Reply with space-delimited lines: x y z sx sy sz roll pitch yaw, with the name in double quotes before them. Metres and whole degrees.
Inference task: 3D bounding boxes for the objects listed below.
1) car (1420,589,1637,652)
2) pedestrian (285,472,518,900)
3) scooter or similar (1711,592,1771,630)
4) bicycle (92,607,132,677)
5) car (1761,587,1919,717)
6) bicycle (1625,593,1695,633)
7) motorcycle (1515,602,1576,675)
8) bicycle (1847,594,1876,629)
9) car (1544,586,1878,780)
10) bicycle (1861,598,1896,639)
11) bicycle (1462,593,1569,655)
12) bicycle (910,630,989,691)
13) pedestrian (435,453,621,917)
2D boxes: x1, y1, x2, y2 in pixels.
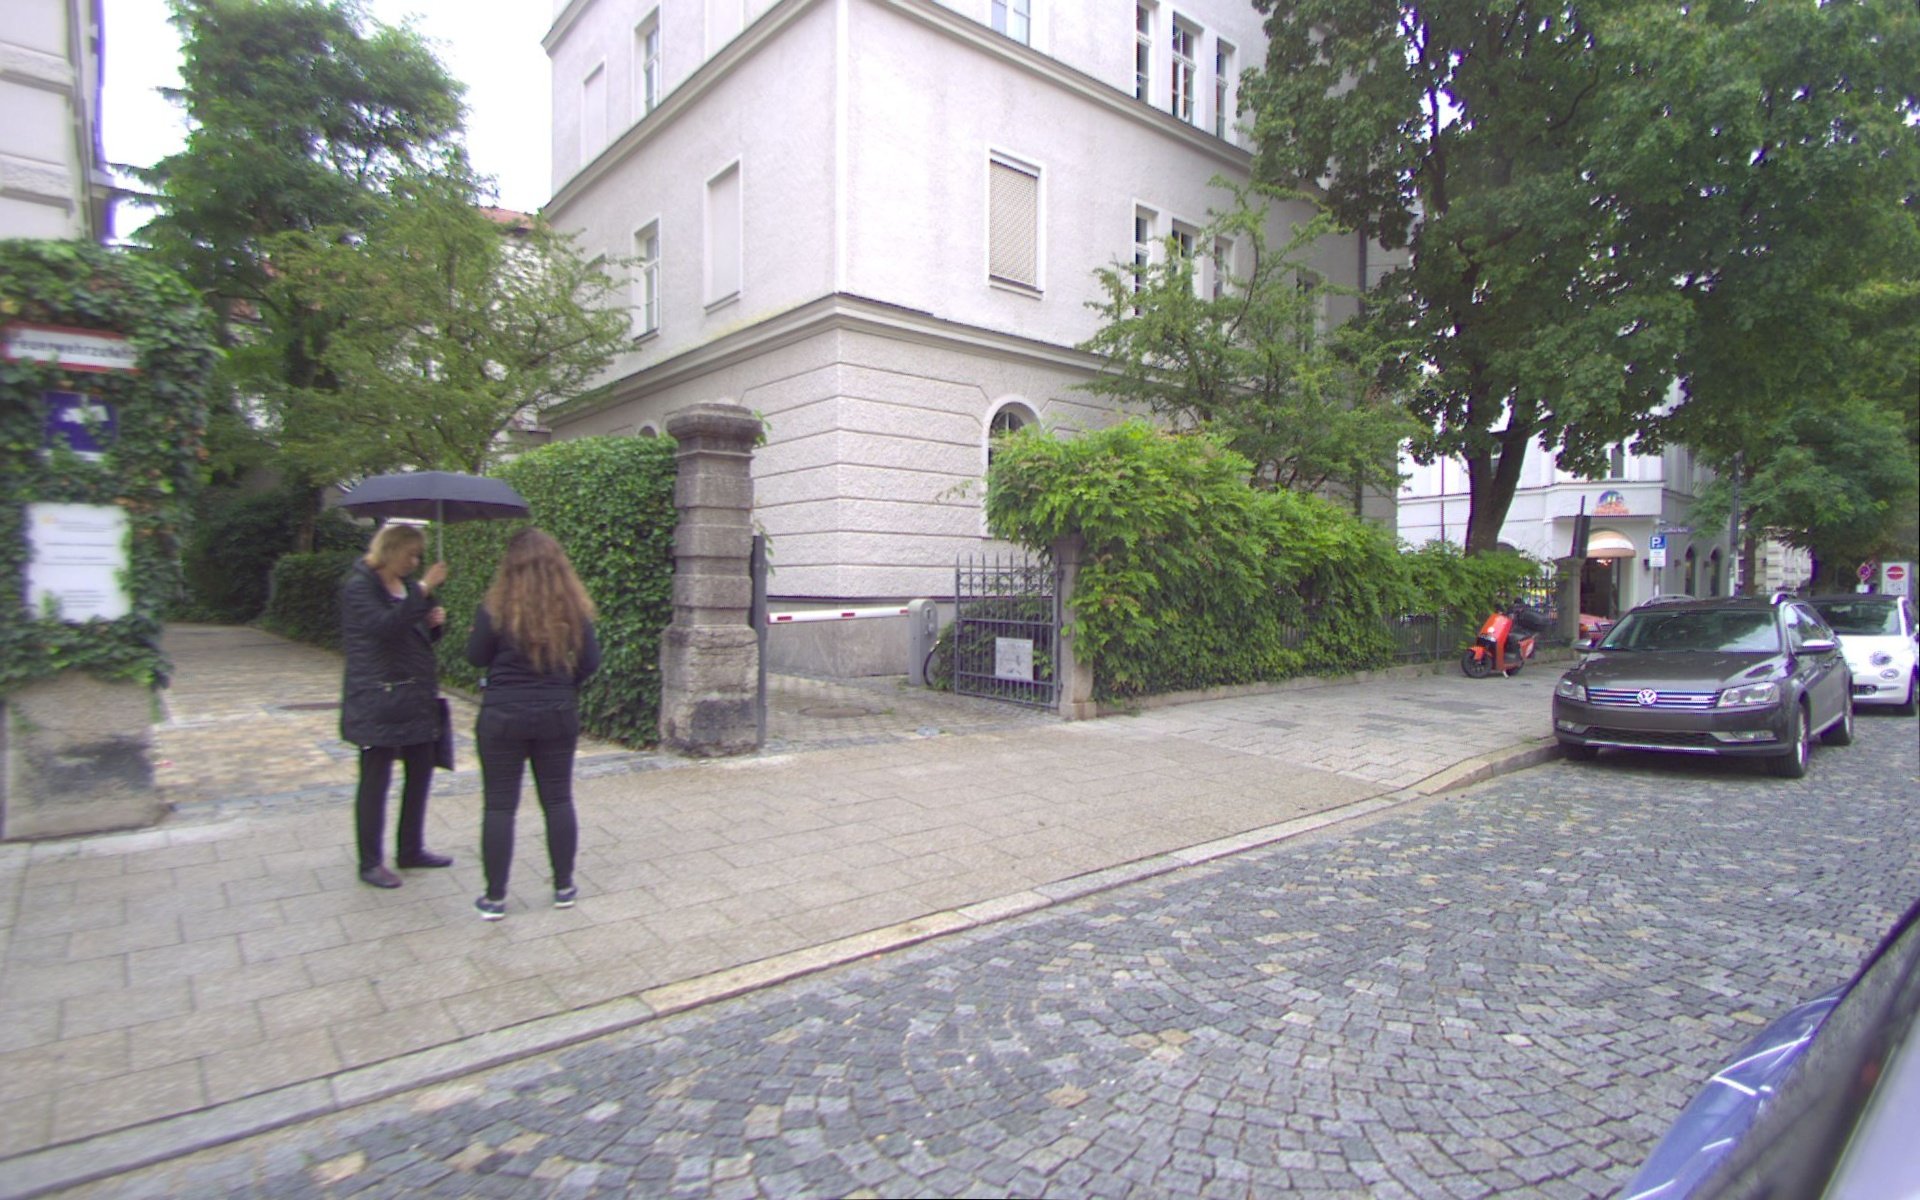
"car" 14.199 0.454 25.552 1.726 1.375 4.485 0 1 -32
"pedestrian" -2.627 0.354 4.785 0.624 1.830 0.654 6 3 27
"scooter or similar" 25.734 0.359 33.363 0.396 1.187 1.612 0 2 -17
"bicycle" -11.145 0.528 13.287 0.312 0.844 1.601 0 1 -43
"car" 12.167 0.585 13.562 3.728 1.489 1.505 -1 1 -40
"bicycle" 21.446 0.369 31.034 0.726 1.081 1.606 -4 5 -37
"motorcycle" 9.325 0.593 16.098 1.378 1.104 0.363 -1 0 -38
"bicycle" 32.851 0.408 36.871 1.700 1.212 0.429 -1 6 -40
"car" 7.371 0.639 9.740 4.553 1.440 1.650 -1 -2 -42
"bicycle" 27.182 0.542 29.949 1.559 1.161 0.389 -1 1 -34
"bicycle" 11.151 0.464 20.362 0.551 1.138 1.846 0 1 -30
"bicycle" -0.120 0.721 12.280 1.019 0.686 0.261 0 1 -40
"pedestrian" -1.929 0.338 4.507 0.668 1.873 0.578 0 1 -33
